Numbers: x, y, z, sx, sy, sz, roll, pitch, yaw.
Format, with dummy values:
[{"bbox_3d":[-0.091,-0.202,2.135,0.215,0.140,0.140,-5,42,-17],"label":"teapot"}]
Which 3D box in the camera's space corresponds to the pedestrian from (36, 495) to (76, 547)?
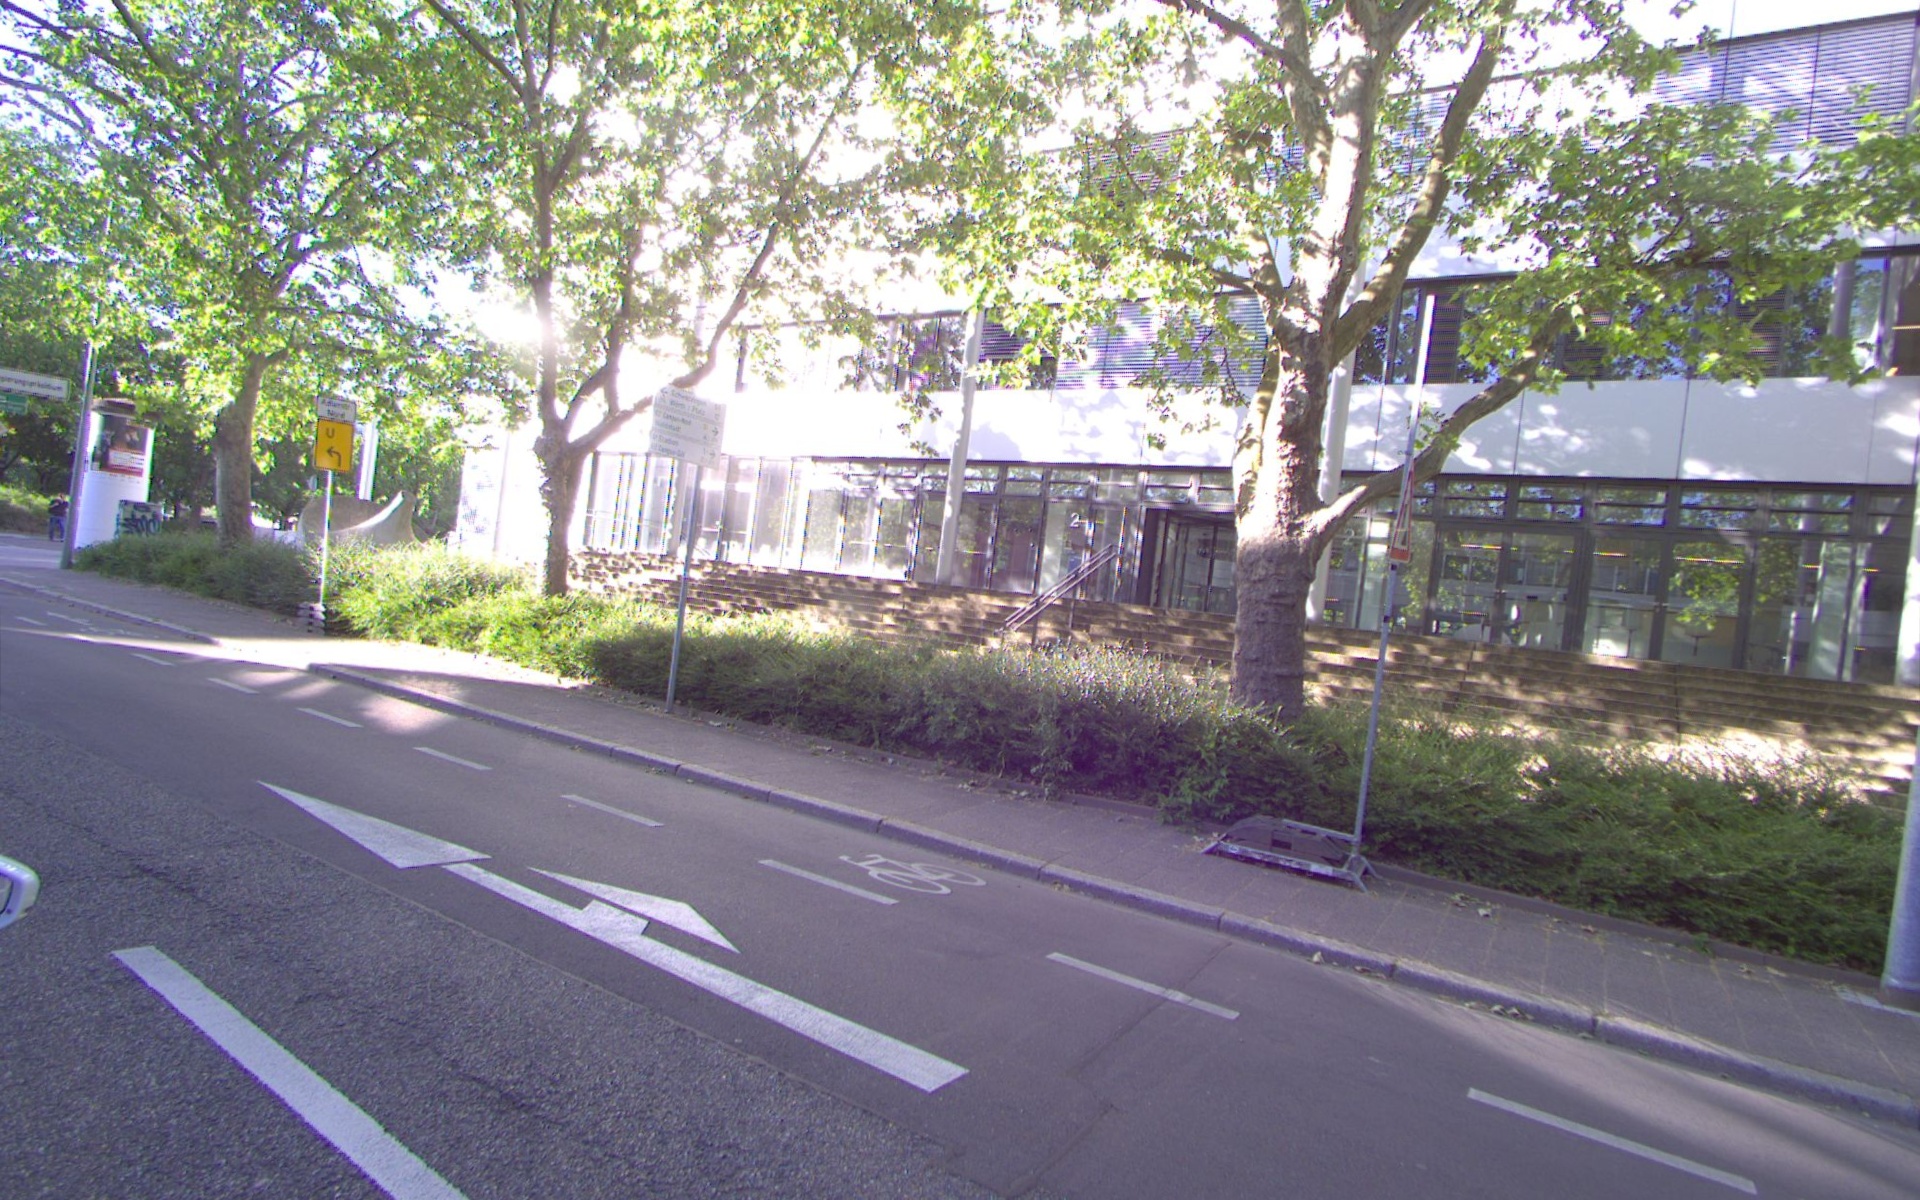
[{"bbox_3d":[-34.085,-2.981,37.929,0.716,1.799,0.738,7,-1,25],"label":"pedestrian"}]
